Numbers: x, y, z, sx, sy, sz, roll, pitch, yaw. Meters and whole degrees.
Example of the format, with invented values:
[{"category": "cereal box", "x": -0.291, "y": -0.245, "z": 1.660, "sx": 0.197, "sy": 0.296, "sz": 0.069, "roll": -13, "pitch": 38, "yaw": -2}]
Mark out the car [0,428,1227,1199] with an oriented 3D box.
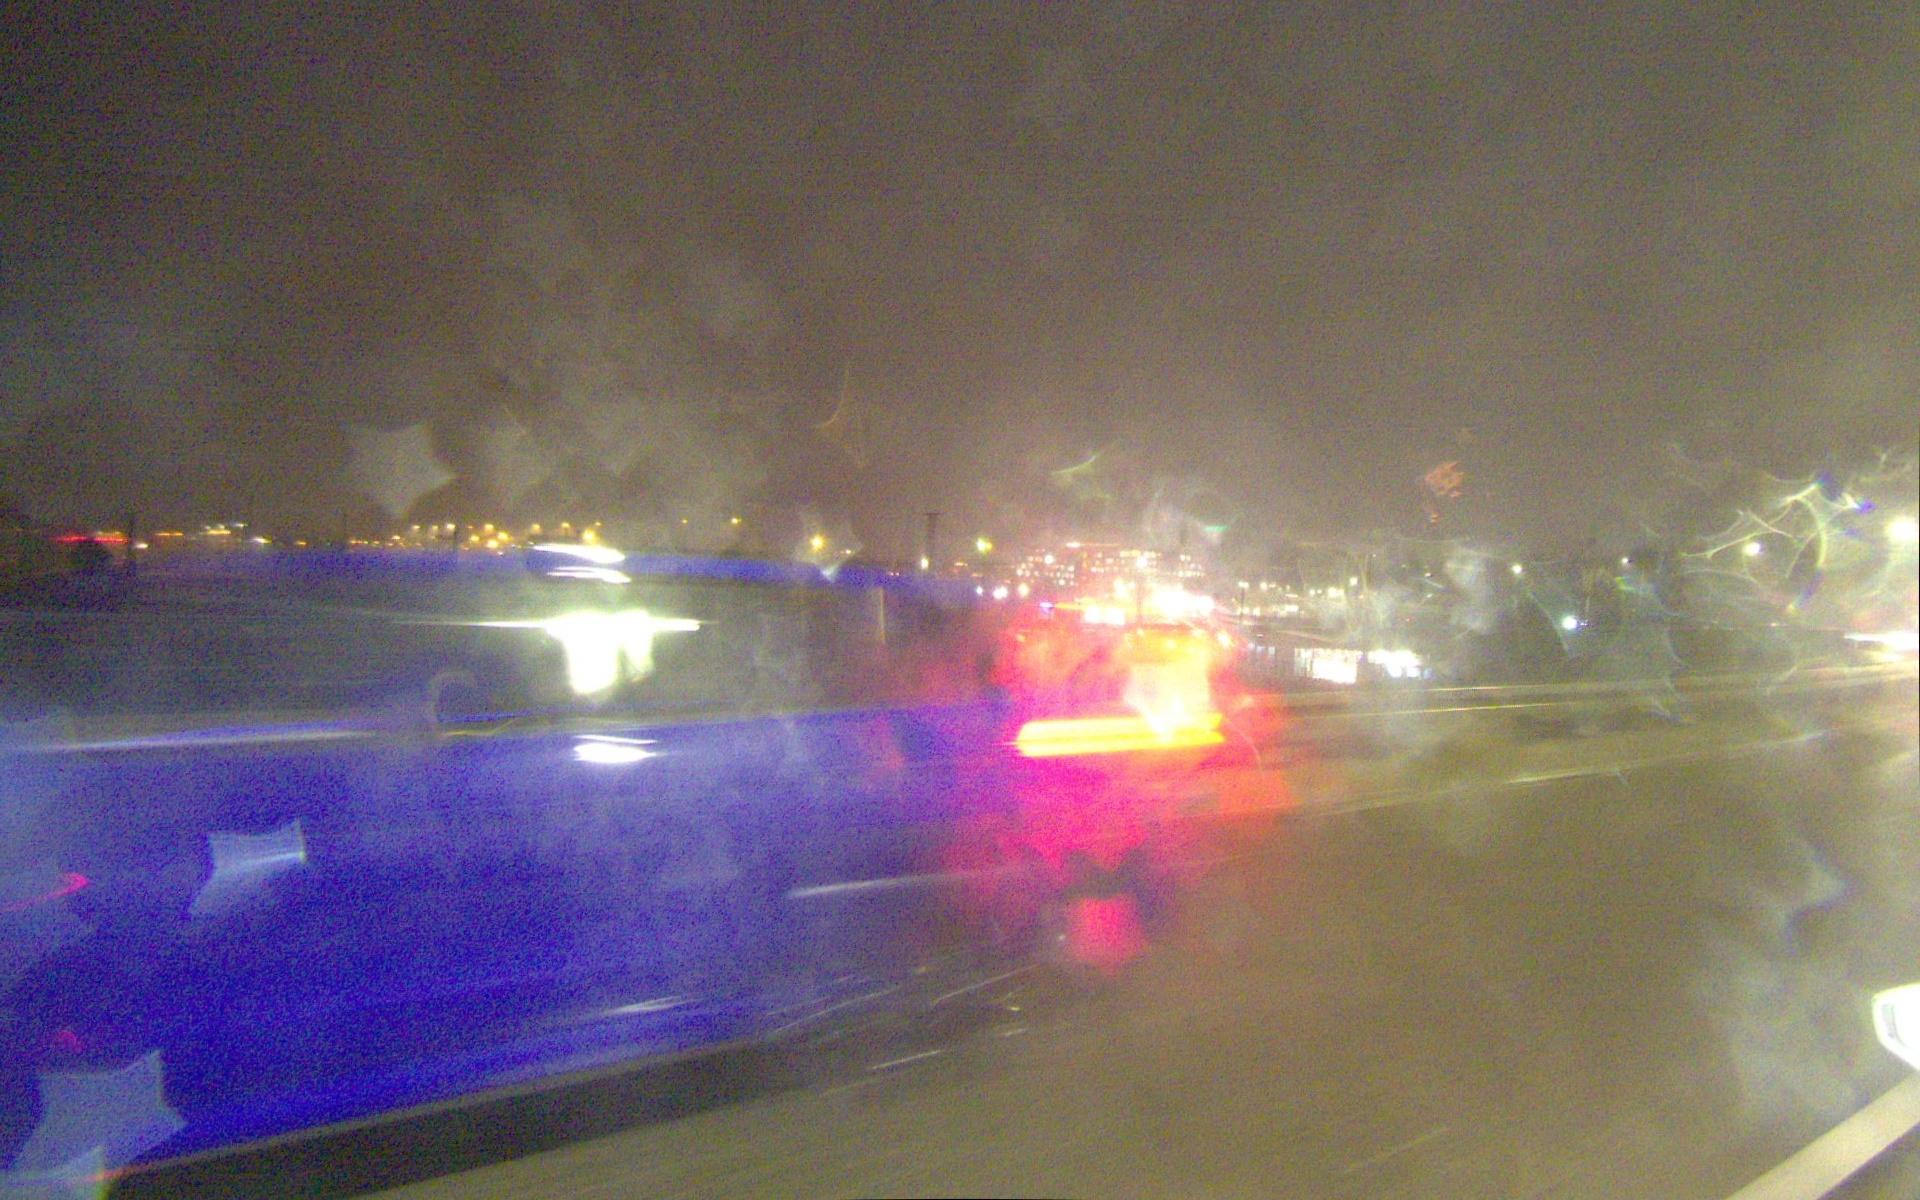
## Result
[{"category": "car", "x": -1.686, "y": 0.560, "z": 3.207, "sx": 4.922, "sy": 1.742, "sz": 2.013, "roll": 1, "pitch": -1, "yaw": -30}]
